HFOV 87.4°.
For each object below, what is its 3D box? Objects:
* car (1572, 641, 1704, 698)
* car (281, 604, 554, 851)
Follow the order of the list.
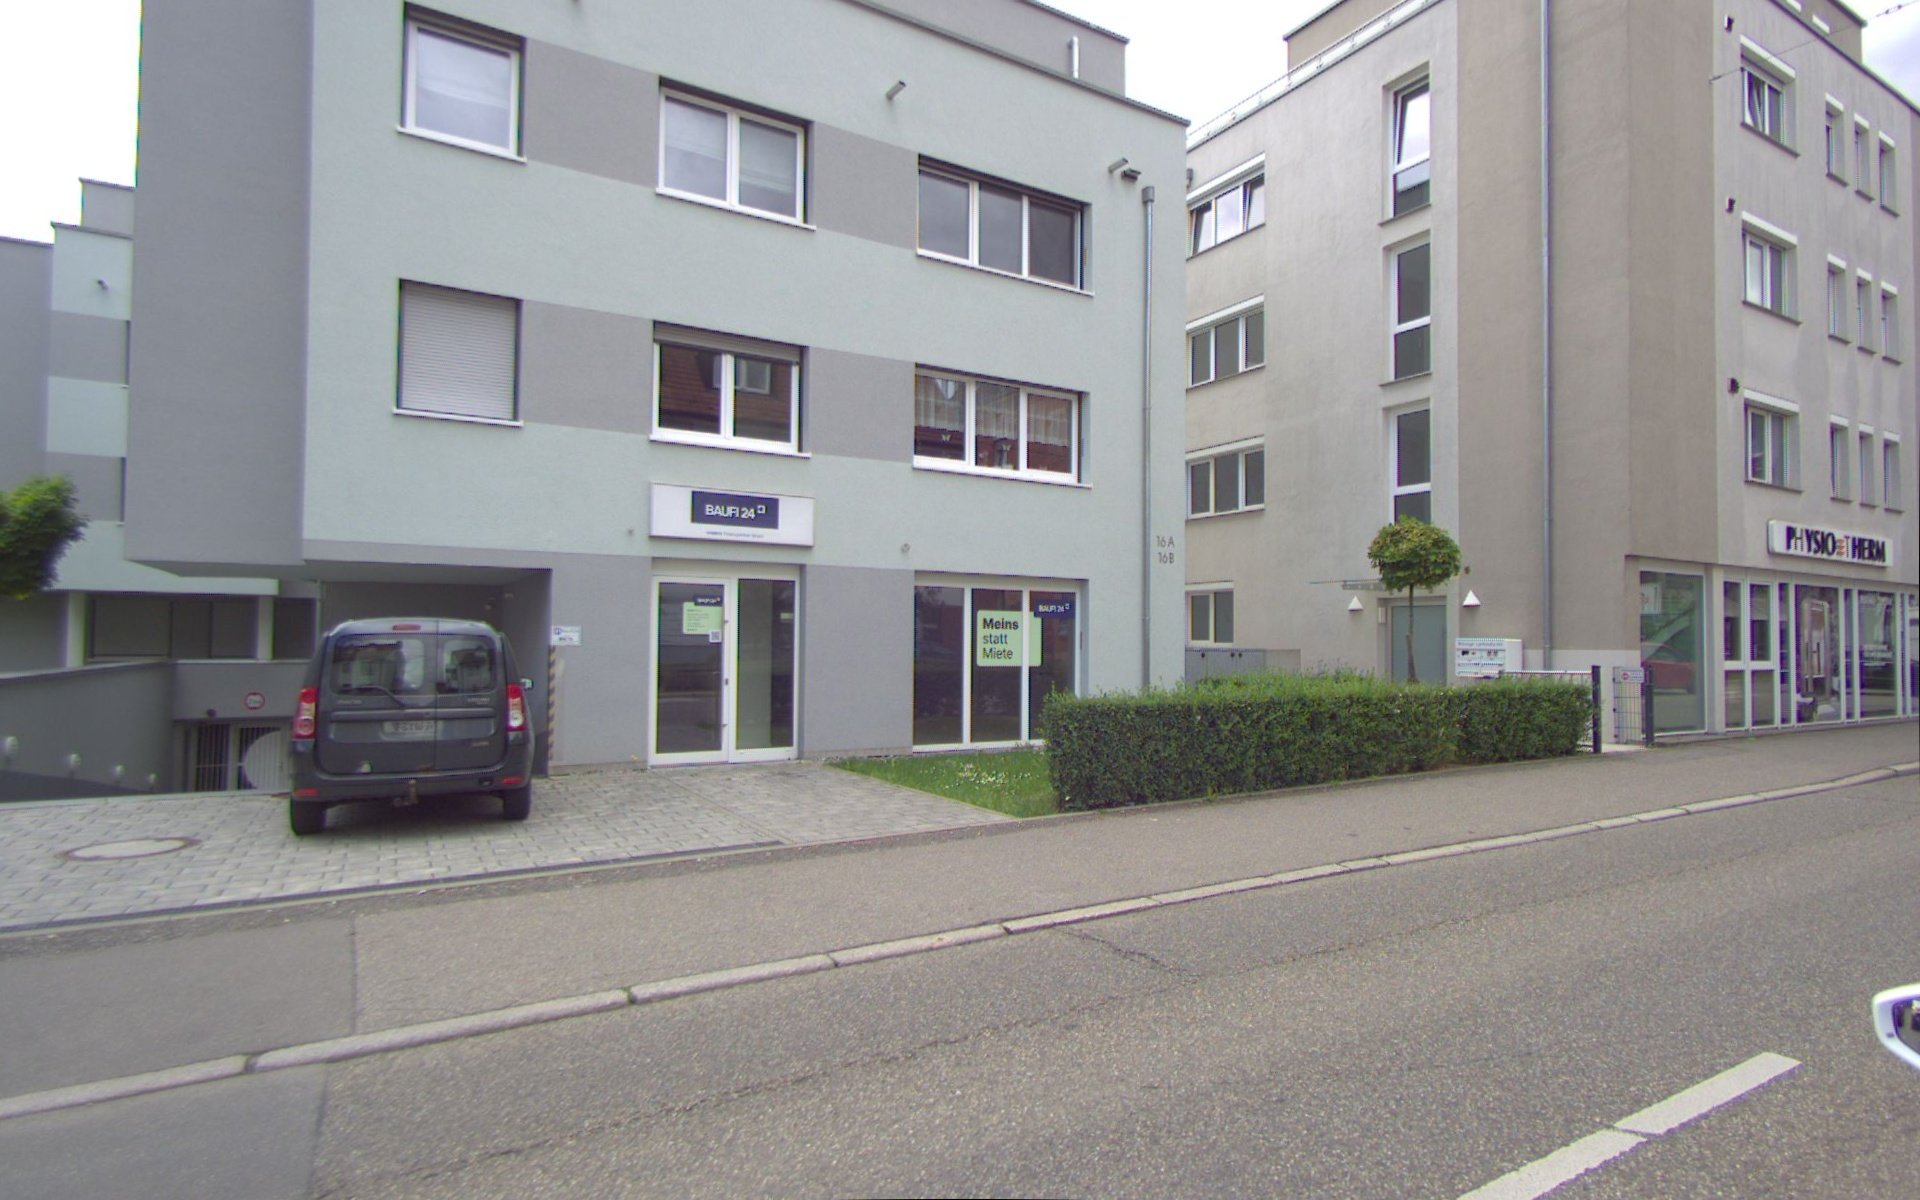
[{"bbox_3d":[19.548,1.976,28.935,3.647,1.476,1.745,2,-1,-30],"label":"car"},{"bbox_3d":[-4.787,0.962,9.144,1.702,1.689,4.150,2,-2,-26],"label":"car"}]
